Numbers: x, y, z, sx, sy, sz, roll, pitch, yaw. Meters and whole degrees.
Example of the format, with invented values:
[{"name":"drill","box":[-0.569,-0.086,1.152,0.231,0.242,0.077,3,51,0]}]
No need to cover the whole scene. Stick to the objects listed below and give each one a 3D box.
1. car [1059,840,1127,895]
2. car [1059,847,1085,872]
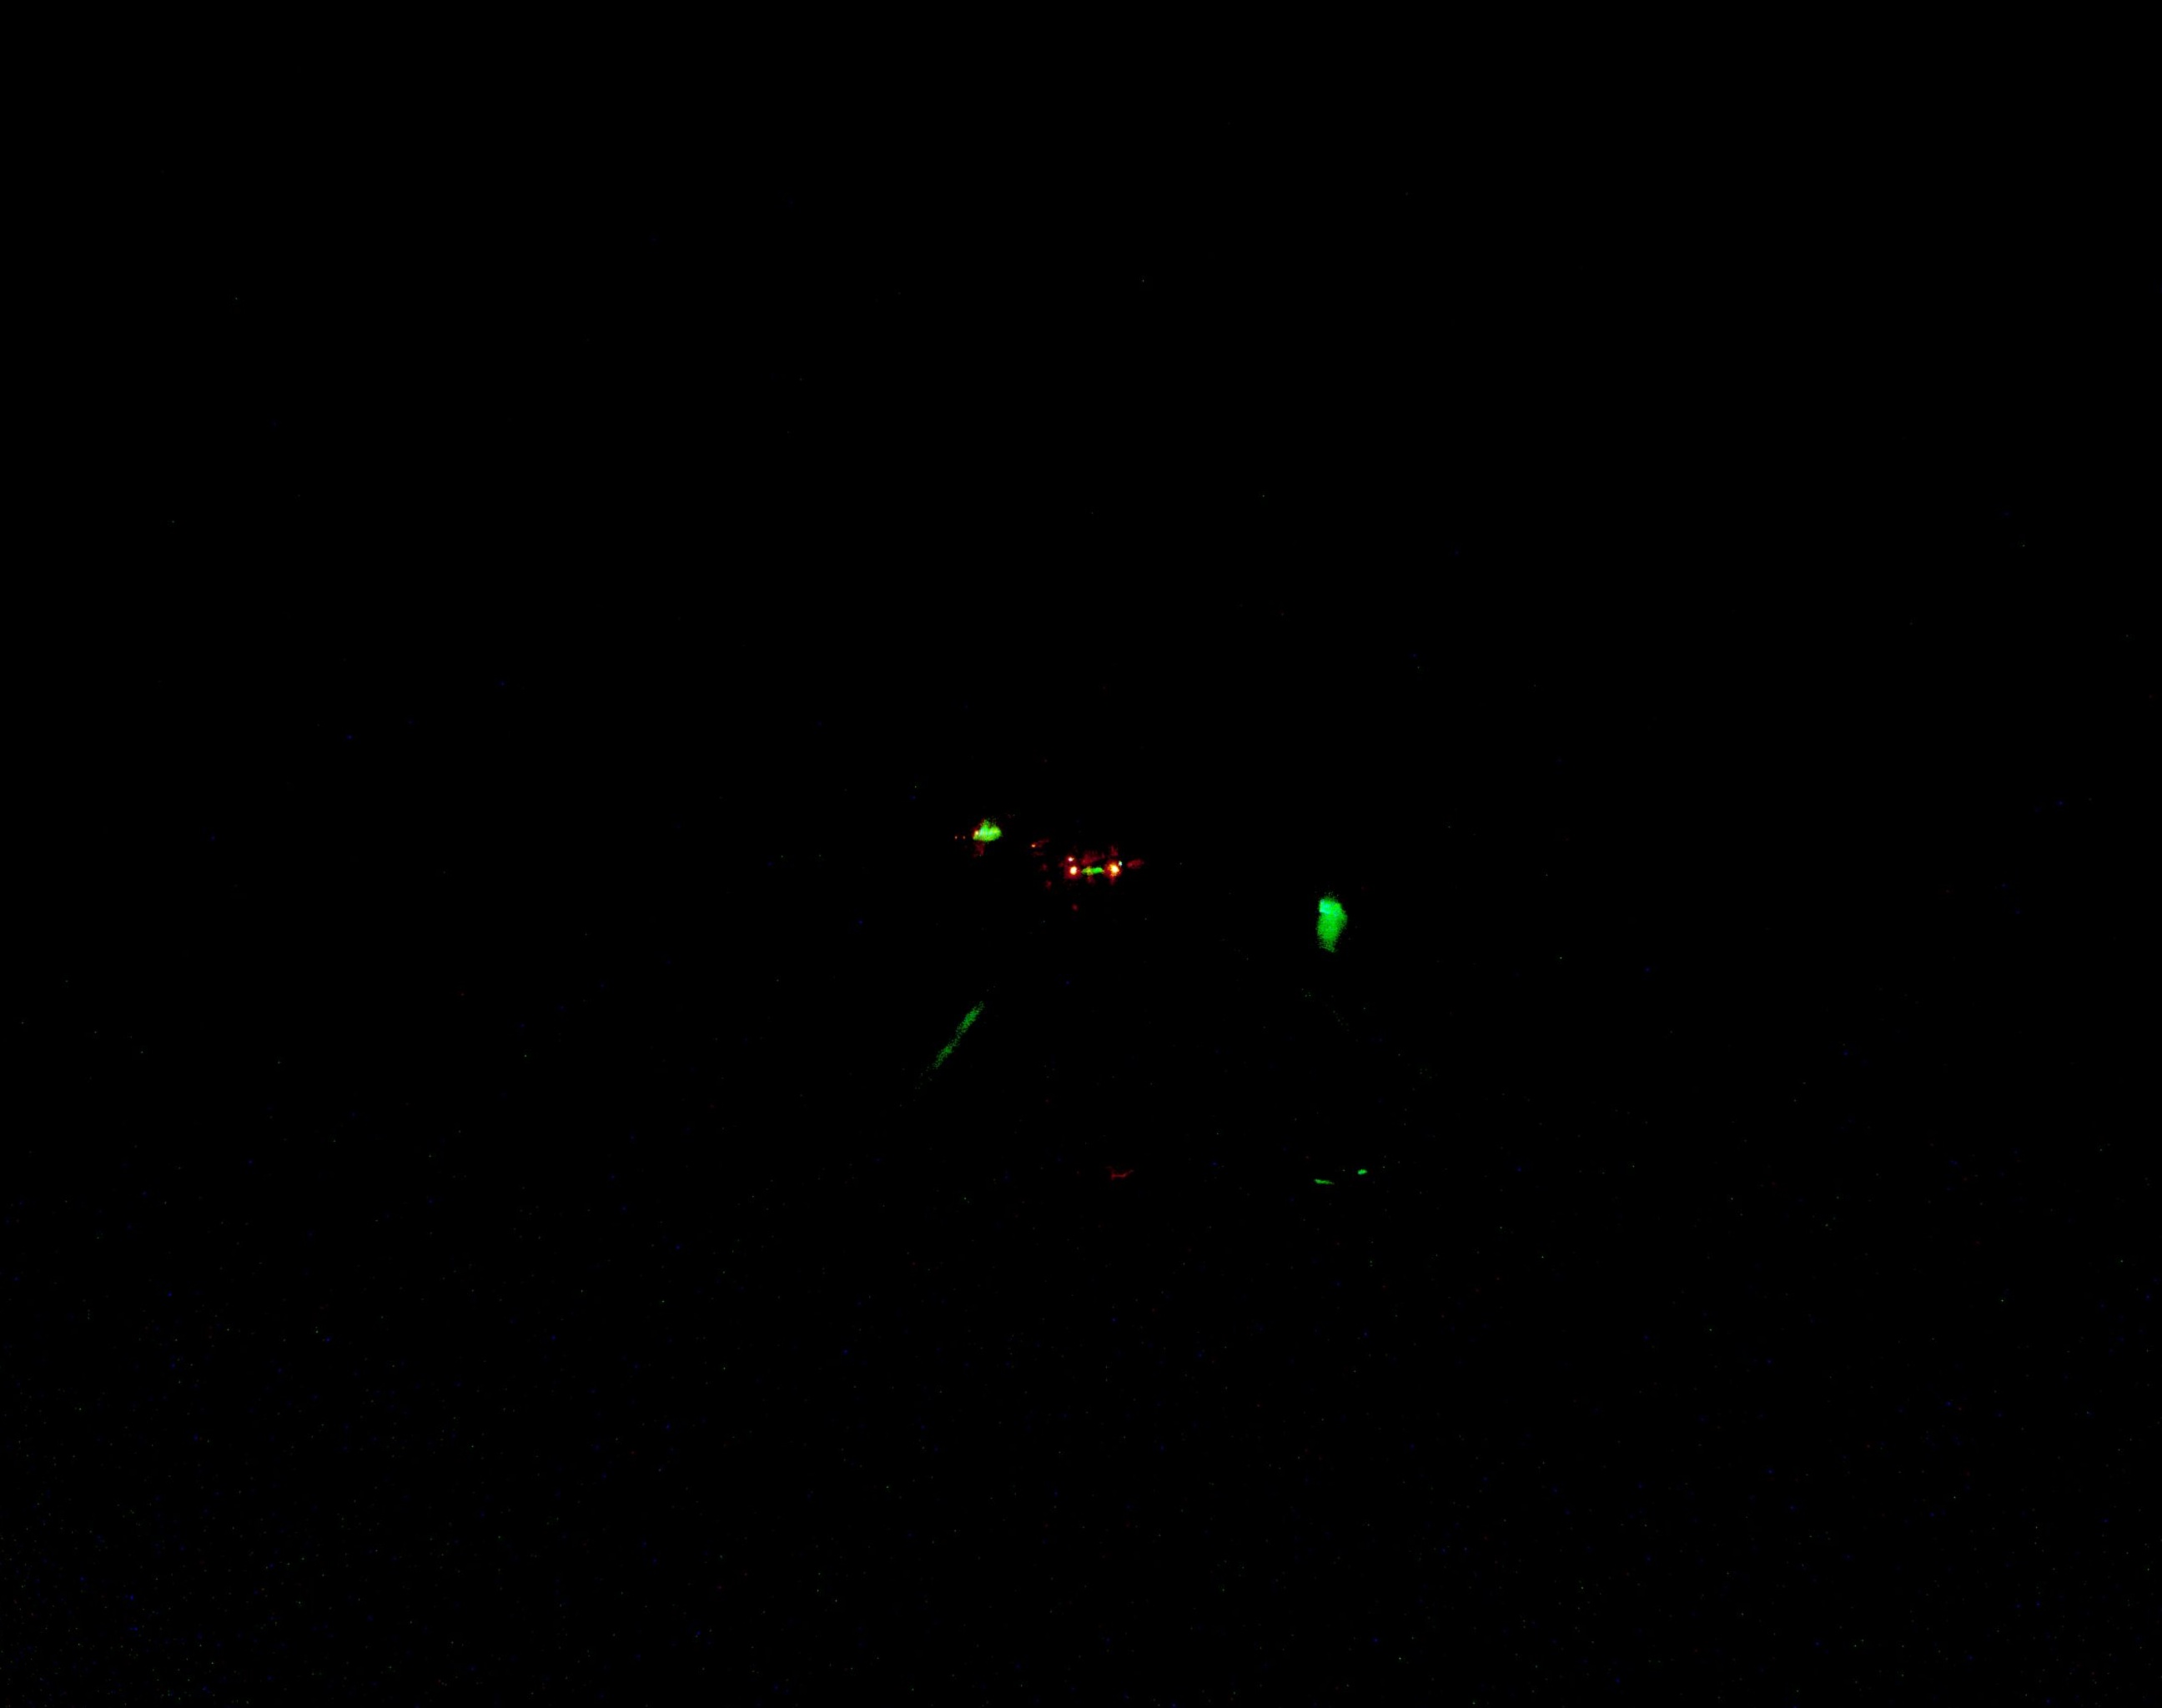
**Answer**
[{"name":"car","box":[0.542,0.490,32.218,2.448,1.958,4.915,-1,0,3]},{"name":"car","box":[-0.824,0.453,68.959,1.989,2.013,3.995,-2,0,-3]}]
